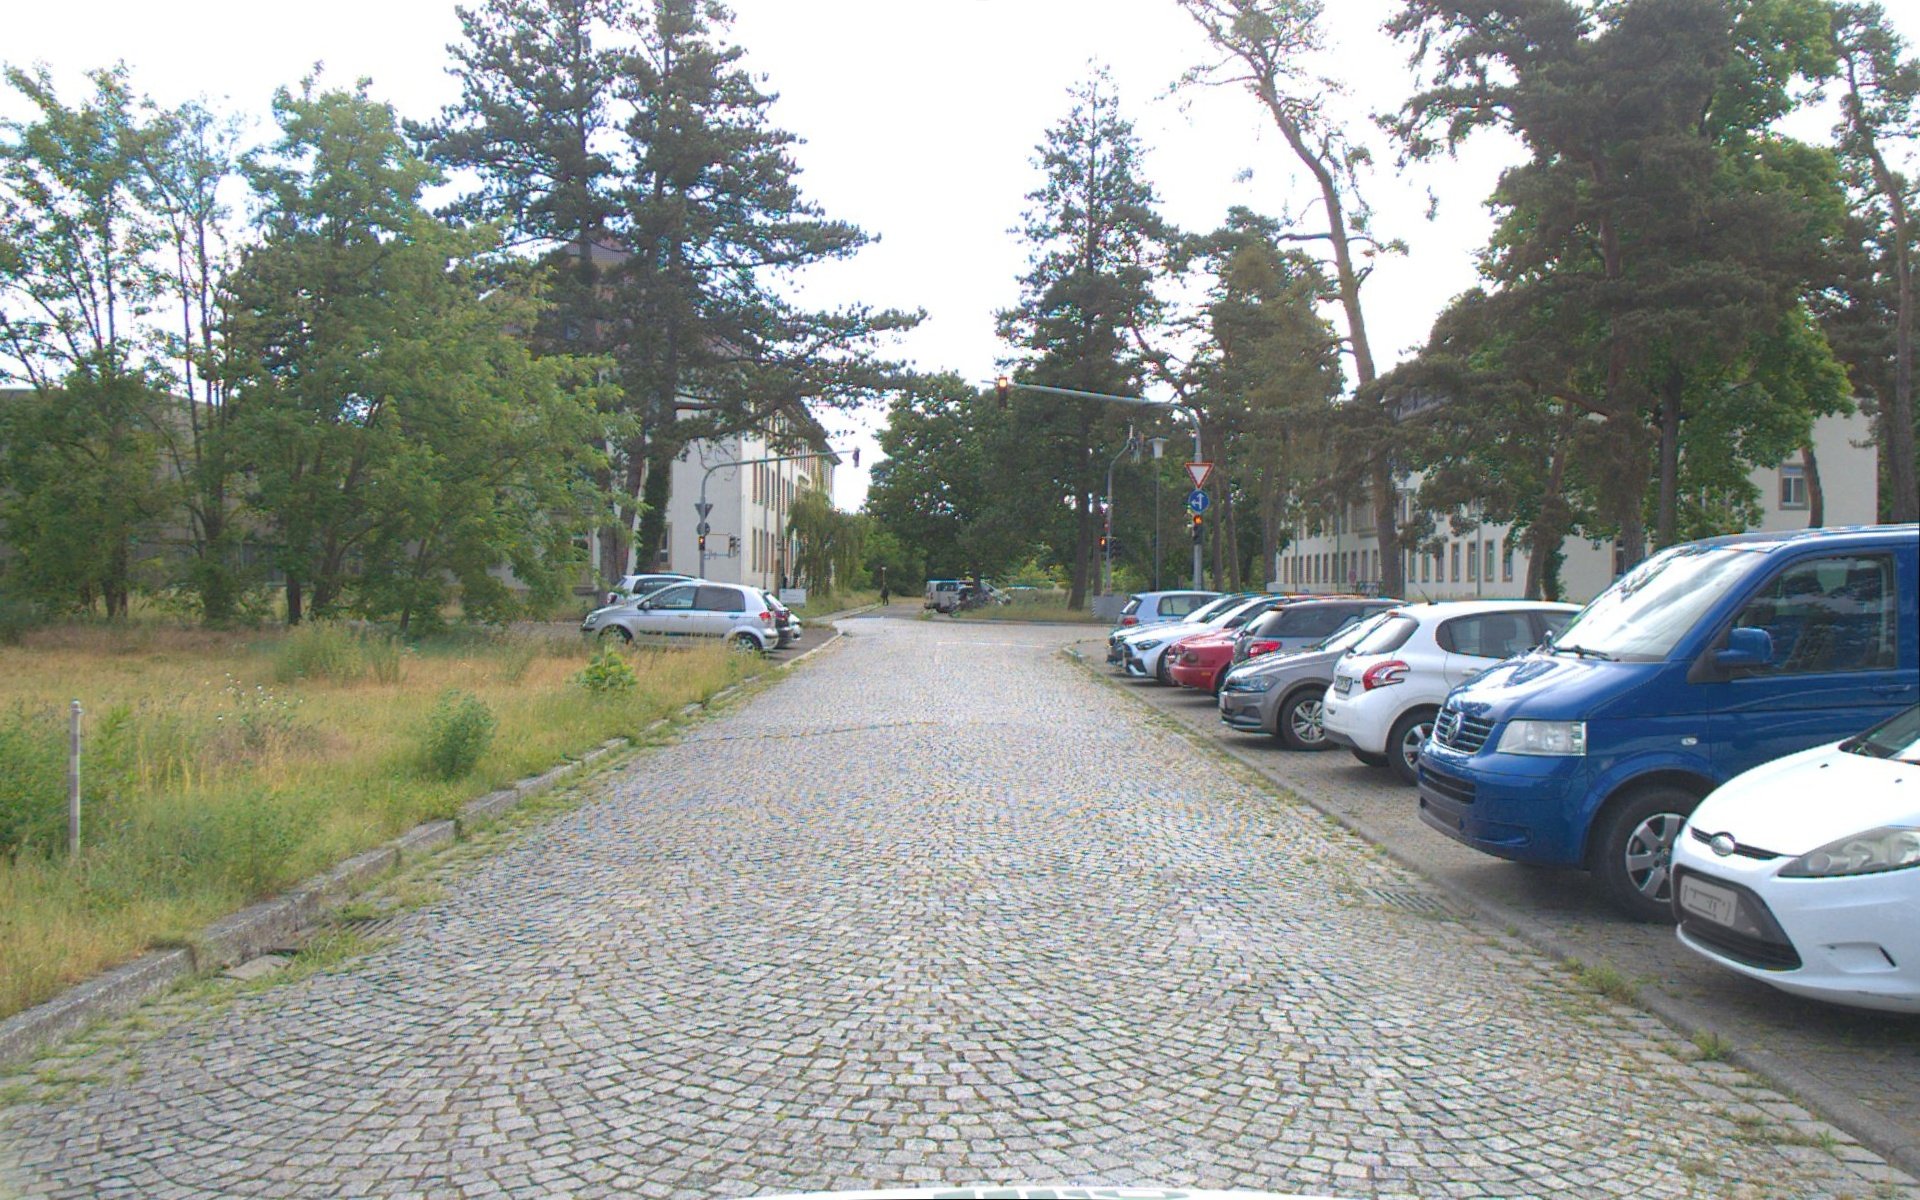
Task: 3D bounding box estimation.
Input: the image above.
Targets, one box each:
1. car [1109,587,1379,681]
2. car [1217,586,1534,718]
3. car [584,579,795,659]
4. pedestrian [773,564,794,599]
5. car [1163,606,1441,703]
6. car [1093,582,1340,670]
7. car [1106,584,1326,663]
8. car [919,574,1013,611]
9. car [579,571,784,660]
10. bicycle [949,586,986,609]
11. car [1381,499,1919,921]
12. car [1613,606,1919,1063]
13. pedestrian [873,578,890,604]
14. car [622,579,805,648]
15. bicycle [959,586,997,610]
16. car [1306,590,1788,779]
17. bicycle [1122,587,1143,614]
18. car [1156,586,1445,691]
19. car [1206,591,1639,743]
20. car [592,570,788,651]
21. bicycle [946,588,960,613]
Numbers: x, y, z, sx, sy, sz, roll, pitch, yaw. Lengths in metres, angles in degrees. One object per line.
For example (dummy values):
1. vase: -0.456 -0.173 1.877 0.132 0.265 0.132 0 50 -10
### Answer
1. car: 4.687 0.526 27.533 4.107 1.462 1.752 0 1 -8
2. car: 4.999 0.602 20.208 3.434 1.513 1.743 0 1 -1
3. car: -5.548 0.370 34.358 4.216 1.581 1.809 0 1 -7
4. pedestrian: -10.385 -1.104 97.234 1.052 1.993 1.121 2 0 -1
5. car: 4.651 0.730 22.829 3.513 1.244 1.629 0 1 0
6. car: 4.675 0.446 30.299 4.153 1.505 1.705 -1 1 -12
7. car: 5.043 0.449 32.858 4.055 1.489 1.631 0 1 -6
8. car: 0.346 -0.451 99.703 5.283 2.138 2.171 0 0 -13
9. car: -5.293 0.285 31.764 3.647 1.506 1.672 3 0 -4
10. bicycle: 0.398 -0.142 88.398 1.845 1.191 0.664 2 0 -6
11. car: 4.932 0.508 9.125 4.699 2.039 1.965 0 1 -3
12. car: 4.937 0.785 6.582 4.016 1.504 1.720 0 1 -4
13. pedestrian: -6.132 -0.733 129.393 1.215 1.993 1.120 2 0 -6
14. car: -5.848 0.300 39.612 4.216 1.581 1.809 0 1 -7
15. bicycle: 0.934 -0.101 84.909 1.845 1.191 0.664 2 0 -6
16. car: 5.000 0.688 14.436 3.579 1.504 1.765 0 1 -1
17. bicycle: 7.273 0.019 69.740 0.649 1.069 1.888 2 1 0
18. car: 5.116 0.563 25.178 4.022 1.502 1.684 0 1 -3
19. car: 4.734 0.661 17.336 4.046 1.472 1.765 0 1 0
20. car: -6.005 0.215 37.155 4.215 1.762 1.651 0 1 -6
21. bicycle: -0.350 0.033 80.256 0.649 1.191 1.887 2 0 0
